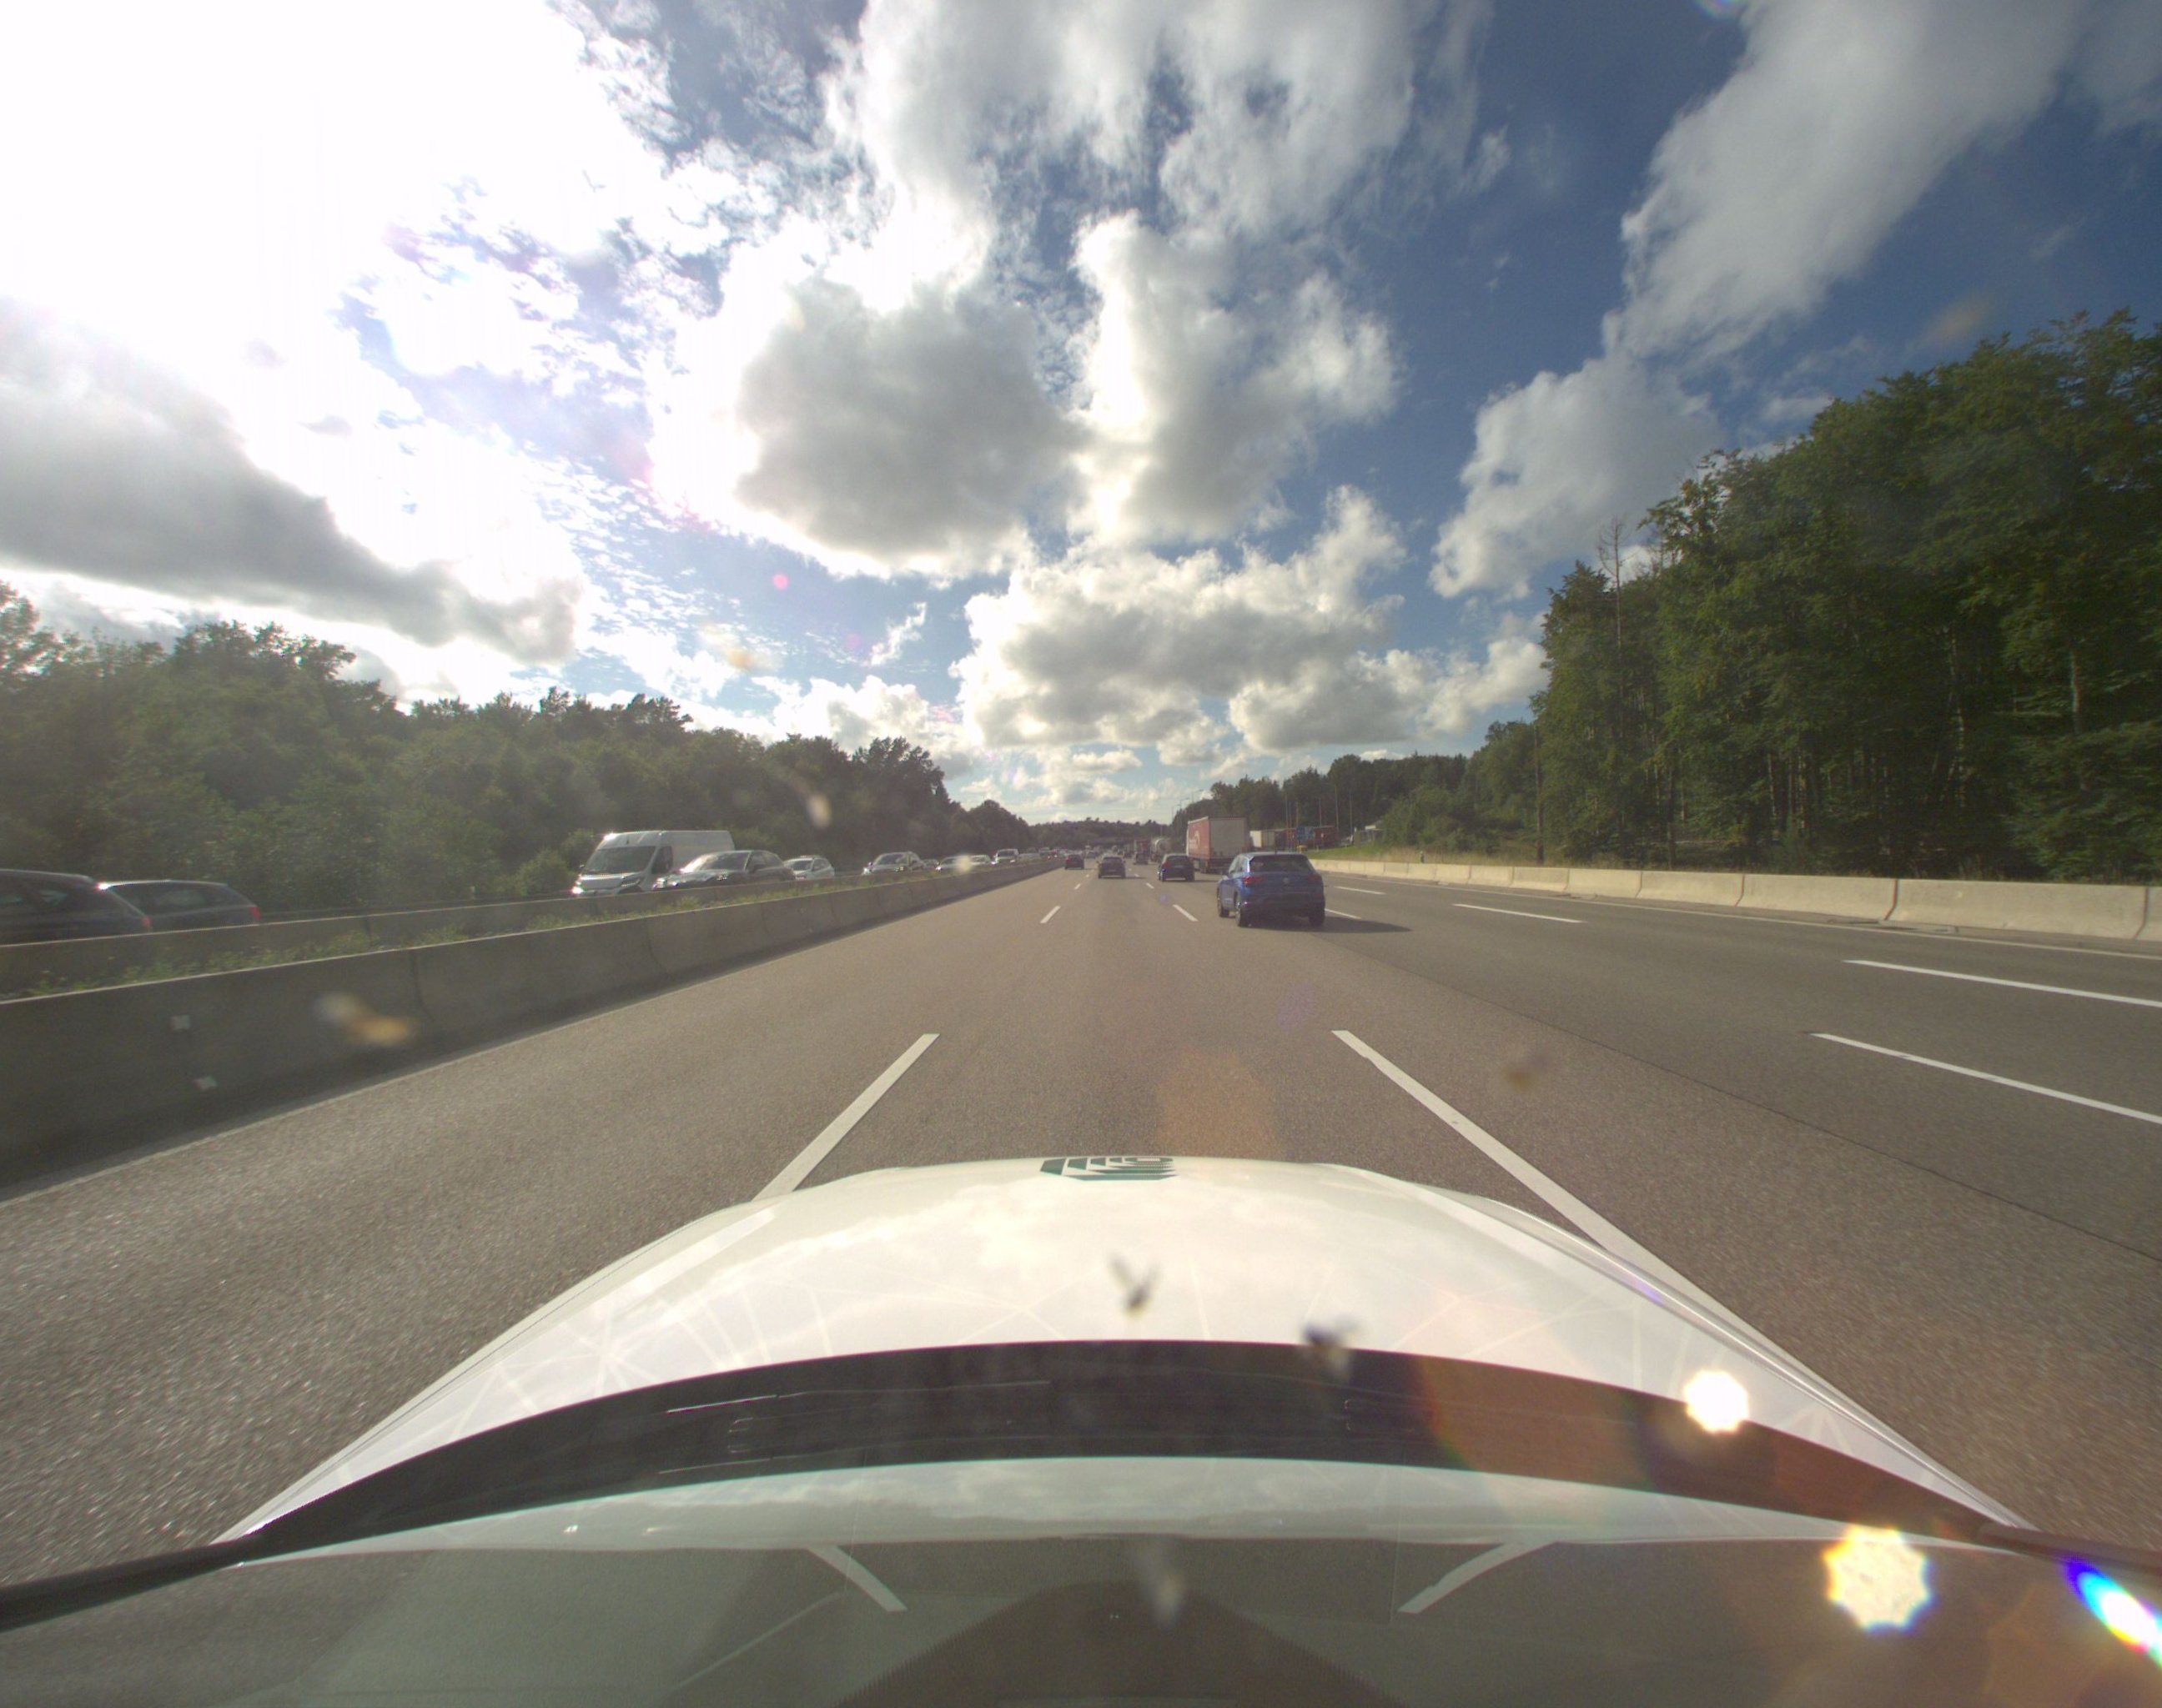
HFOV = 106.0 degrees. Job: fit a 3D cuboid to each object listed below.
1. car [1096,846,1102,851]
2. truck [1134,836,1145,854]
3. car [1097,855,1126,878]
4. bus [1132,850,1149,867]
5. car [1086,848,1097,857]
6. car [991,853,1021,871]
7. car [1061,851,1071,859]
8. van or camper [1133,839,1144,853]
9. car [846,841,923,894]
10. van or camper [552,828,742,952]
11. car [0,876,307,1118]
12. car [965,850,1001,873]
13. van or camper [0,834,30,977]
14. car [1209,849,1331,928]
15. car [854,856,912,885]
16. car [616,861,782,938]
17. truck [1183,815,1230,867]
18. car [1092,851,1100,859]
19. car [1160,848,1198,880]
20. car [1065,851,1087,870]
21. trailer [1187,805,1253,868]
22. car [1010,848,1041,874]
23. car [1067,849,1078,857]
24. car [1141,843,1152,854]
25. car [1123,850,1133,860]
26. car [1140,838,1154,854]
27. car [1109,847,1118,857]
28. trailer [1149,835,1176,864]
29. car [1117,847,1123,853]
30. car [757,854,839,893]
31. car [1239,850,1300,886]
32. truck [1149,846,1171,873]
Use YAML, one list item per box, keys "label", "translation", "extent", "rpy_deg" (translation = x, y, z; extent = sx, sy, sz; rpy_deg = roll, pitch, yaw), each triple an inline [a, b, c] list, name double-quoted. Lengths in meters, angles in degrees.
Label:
- label: "car"
  translation: [5.420, -1.679, 242.729]
  extent: [1.617, 1.470, 3.817]
  rpy_deg: [0, 0, 2]
- label: "truck"
  translation: [13.295, -2.014, 187.080]
  extent: [2.348, 3.572, 11.274]
  rpy_deg: [-1, -1, 3]
- label: "car"
  translation: [1.936, 0.782, 51.885]
  extent: [1.728, 1.365, 4.000]
  rpy_deg: [0, 1, 0]
- label: "bus"
  translation: [7.296, 0.521, 100.643]
  extent: [1.986, 2.014, 4.002]
  rpy_deg: [-1, -2, 2]
- label: "car"
  translation: [2.280, -0.265, 174.216]
  extent: [2.146, 1.776, 4.002]
  rpy_deg: [0, -1, 2]
- label: "car"
  translation: [-6.854, 0.715, 74.928]
  extent: [1.985, 1.572, 4.819]
  rpy_deg: [-1, 0, 3]
- label: "car"
  translation: [-3.031, 0.215, 168.312]
  extent: [1.758, 1.572, 4.360]
  rpy_deg: [0, 0, 3]
- label: "van or camper"
  translation: [13.657, -1.961, 193.797]
  extent: [2.342, 3.144, 5.714]
  rpy_deg: [-1, -2, 3]
- label: "car"
  translation: [-8.014, 0.517, 33.644]
  extent: [1.874, 2.013, 4.523]
  rpy_deg: [0, 0, 3]
- label: "van or camper"
  translation: [-12.392, 0.926, 23.919]
  extent: [2.131, 3.172, 6.245]
  rpy_deg: [0, 0, 1]
- label: "car"
  translation: [-8.980, 1.095, 6.354]
  extent: [1.681, 1.816, 4.296]
  rpy_deg: [0, -2, 1]
- label: "car"
  translation: [-7.399, 0.542, 61.786]
  extent: [1.986, 1.735, 5.093]
  rpy_deg: [0, 0, 2]
- label: "van or camper"
  translation: [-24.678, 1.113, 14.486]
  extent: [2.563, 3.077, 7.196]
  rpy_deg: [-1, 0, 1]
- label: "car"
  translation: [4.090, 0.728, 18.365]
  extent: [1.916, 1.541, 4.648]
  rpy_deg: [0, -1, 3]
- label: "car"
  translation: [-11.250, 0.961, 46.578]
  extent: [1.985, 1.596, 4.527]
  rpy_deg: [0, -1, 3]
- label: "car"
  translation: [-8.839, 0.979, 19.314]
  extent: [1.829, 1.591, 4.289]
  rpy_deg: [0, 0, 1]
- label: "truck"
  translation: [10.360, -0.953, 67.792]
  extent: [3.069, 4.064, 6.071]
  rpy_deg: [0, -2, 2]
- label: "car"
  translation: [3.839, 0.321, 203.146]
  extent: [1.986, 2.013, 4.002]
  rpy_deg: [0, 0, 2]
- label: "car"
  translation: [5.325, 0.557, 44.763]
  extent: [1.792, 1.644, 4.002]
  rpy_deg: [0, -1, 2]
- label: "car"
  translation: [-0.458, 0.639, 80.614]
  extent: [1.986, 1.776, 4.002]
  rpy_deg: [0, 0, 2]
- label: "trailer"
  translation: [10.130, -1.039, 61.095]
  extent: [3.027, 4.035, 13.894]
  rpy_deg: [0, -1, 2]
- label: "car"
  translation: [-4.225, 0.504, 62.843]
  extent: [1.986, 1.920, 4.001]
  rpy_deg: [-1, 1, 1]
- label: "car"
  translation: [-1.902, -0.203, 176.906]
  extent: [1.985, 1.572, 5.333]
  rpy_deg: [1, 0, 3]
- label: "car"
  translation: [12.827, -1.126, 159.168]
  extent: [1.986, 2.014, 4.001]
  rpy_deg: [0, -2, 2]
- label: "car"
  translation: [9.750, 0.238, 169.779]
  extent: [1.986, 2.014, 4.001]
  rpy_deg: [0, -1, 2]
- label: "car"
  translation: [13.682, -1.638, 168.892]
  extent: [2.854, 2.992, 5.153]
  rpy_deg: [-1, -2, 3]
- label: "car"
  translation: [7.501, -0.455, 189.844]
  extent: [1.986, 2.014, 4.001]
  rpy_deg: [-2, -2, 2]
- label: "trailer"
  translation: [12.302, -0.608, 123.780]
  extent: [3.025, 4.016, 12.248]
  rpy_deg: [-1, -1, 2]
- label: "car"
  translation: [12.499, -1.243, 260.337]
  extent: [1.986, 2.014, 4.002]
  rpy_deg: [0, 0, 2]
- label: "car"
  translation: [-12.181, 0.851, 35.355]
  extent: [1.985, 1.596, 4.003]
  rpy_deg: [0, -1, 3]
- label: "car"
  translation: [8.636, 0.636, 37.718]
  extent: [1.710, 1.511, 4.299]
  rpy_deg: [-2, -1, -1]
- label: "truck"
  translation: [12.506, 0.841, 129.883]
  extent: [3.034, 4.160, 7.129]
  rpy_deg: [-1, -1, 2]
